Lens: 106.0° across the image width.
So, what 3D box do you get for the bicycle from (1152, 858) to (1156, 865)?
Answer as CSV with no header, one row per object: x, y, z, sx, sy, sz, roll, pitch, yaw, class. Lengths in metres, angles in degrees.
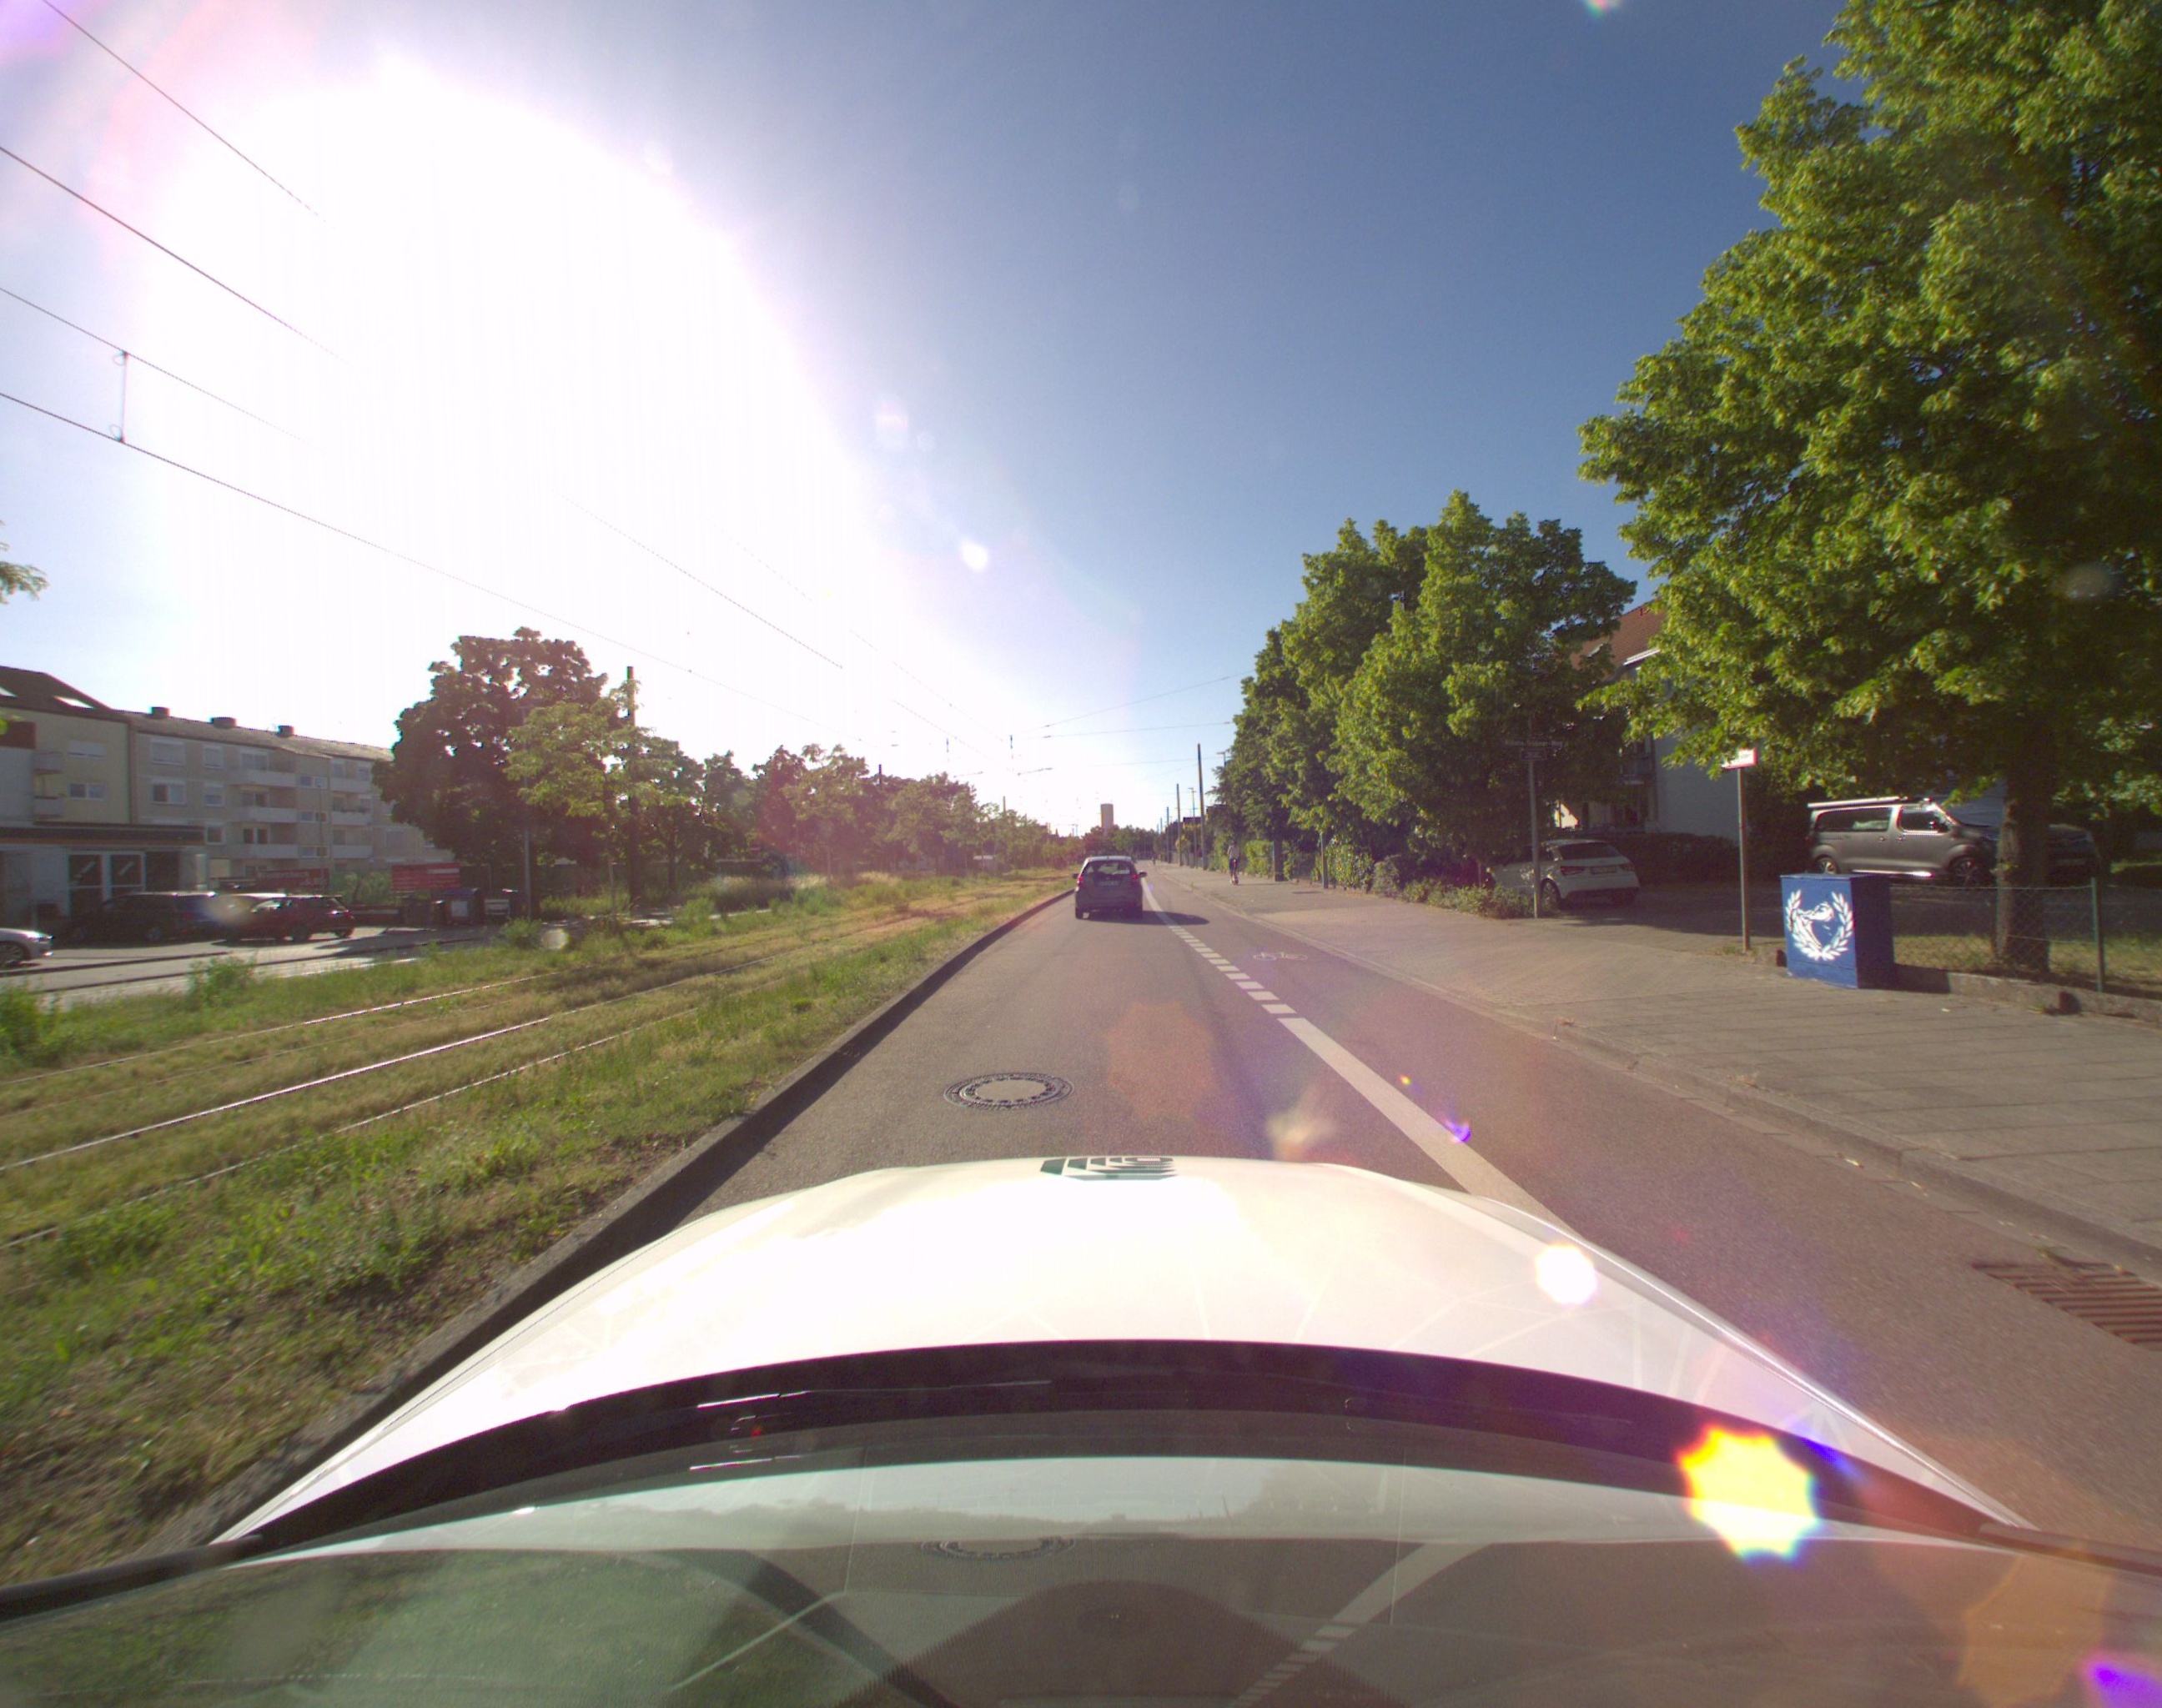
13.597,1.367,152.194,0.510,1.241,3.091,-3,0,3,bicycle

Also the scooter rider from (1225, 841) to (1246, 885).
6.813,0.390,35.927,0.713,1.901,0.935,-3,0,1,scooter rider

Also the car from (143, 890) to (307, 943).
-31.335,2.268,29.890,4.056,1.568,1.792,-3,0,1,car

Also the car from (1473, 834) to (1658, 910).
10.527,0.358,18.066,1.768,1.386,3.870,-4,0,0,car

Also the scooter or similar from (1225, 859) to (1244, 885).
6.772,0.785,35.928,0.537,1.118,1.418,-3,0,2,scooter or similar

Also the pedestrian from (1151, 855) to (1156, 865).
13.587,1.093,152.242,0.719,1.800,1.165,-3,0,2,pedestrian

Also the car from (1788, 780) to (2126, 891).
18.266,-0.349,17.492,1.864,1.966,5.172,-2,0,4,car

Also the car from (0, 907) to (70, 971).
-27.800,2.195,19.372,1.769,1.471,4.500,-3,0,33,car

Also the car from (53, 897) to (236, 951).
-31.515,2.344,27.482,4.056,1.444,1.792,-3,0,1,car

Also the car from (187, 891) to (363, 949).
-26.984,2.193,27.369,4.056,1.568,1.792,-3,0,1,car

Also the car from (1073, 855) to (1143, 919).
0.758,0.802,21.080,1.617,1.500,3.460,-1,-1,4,car
